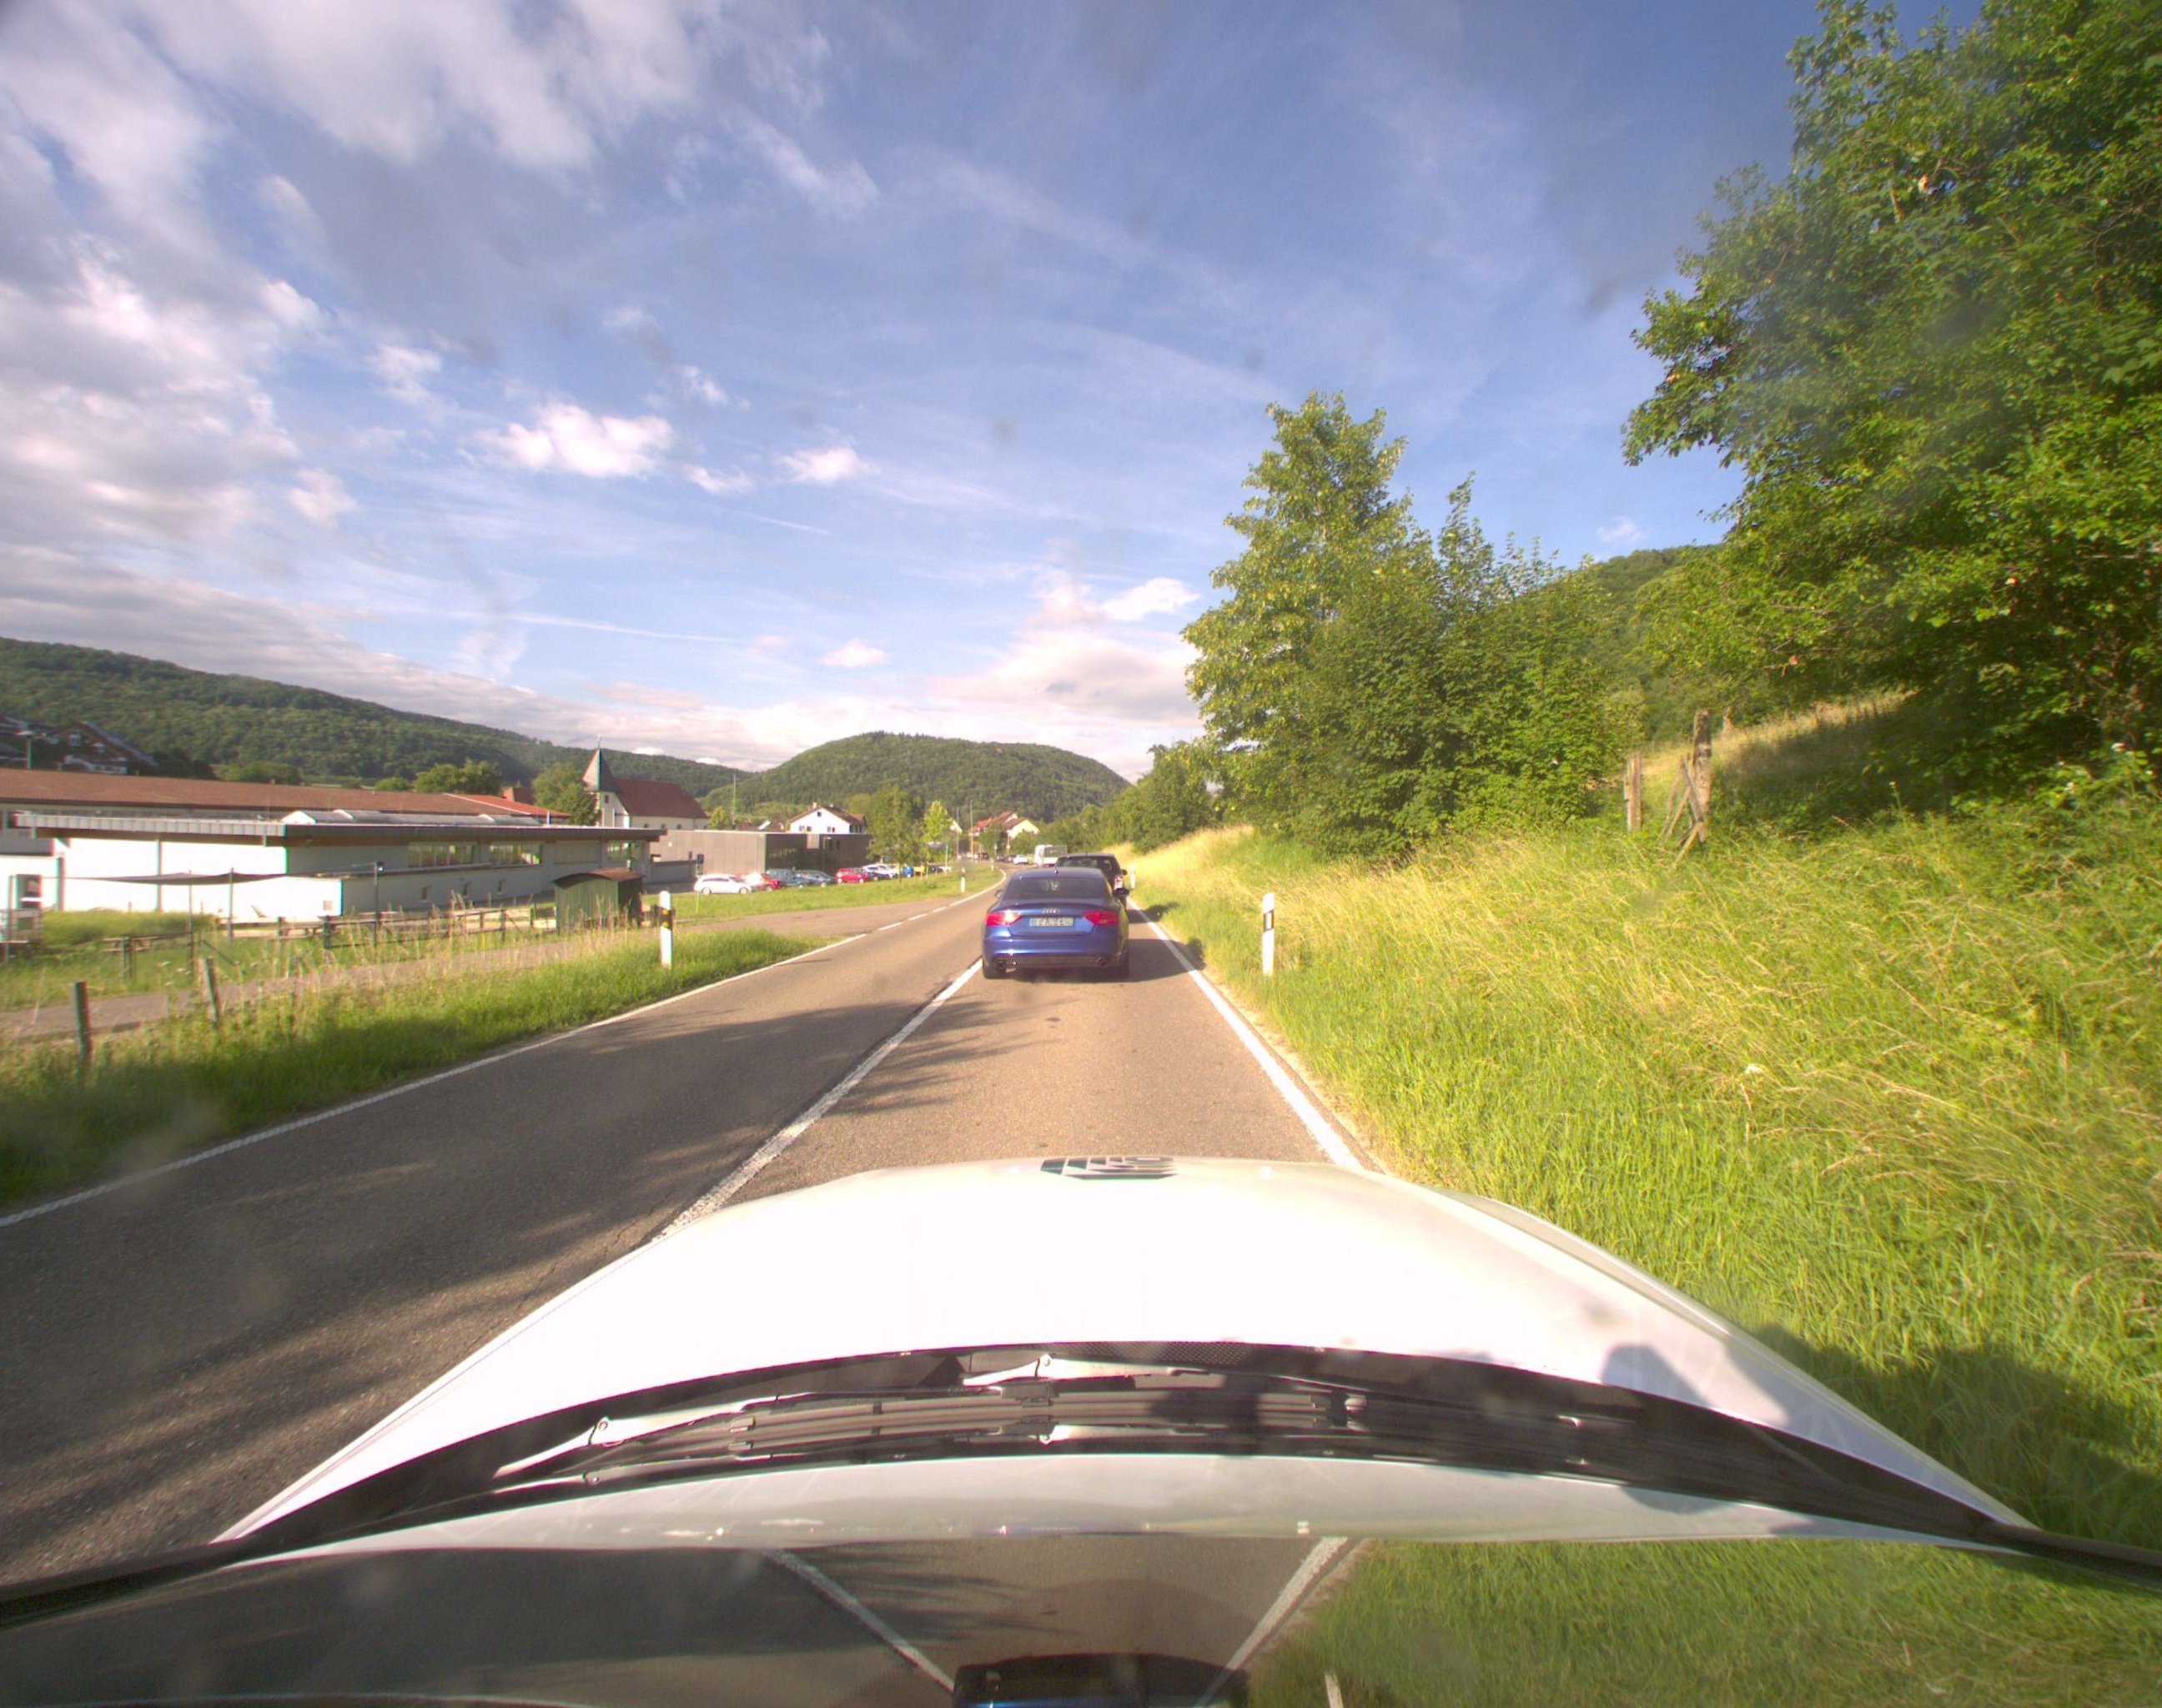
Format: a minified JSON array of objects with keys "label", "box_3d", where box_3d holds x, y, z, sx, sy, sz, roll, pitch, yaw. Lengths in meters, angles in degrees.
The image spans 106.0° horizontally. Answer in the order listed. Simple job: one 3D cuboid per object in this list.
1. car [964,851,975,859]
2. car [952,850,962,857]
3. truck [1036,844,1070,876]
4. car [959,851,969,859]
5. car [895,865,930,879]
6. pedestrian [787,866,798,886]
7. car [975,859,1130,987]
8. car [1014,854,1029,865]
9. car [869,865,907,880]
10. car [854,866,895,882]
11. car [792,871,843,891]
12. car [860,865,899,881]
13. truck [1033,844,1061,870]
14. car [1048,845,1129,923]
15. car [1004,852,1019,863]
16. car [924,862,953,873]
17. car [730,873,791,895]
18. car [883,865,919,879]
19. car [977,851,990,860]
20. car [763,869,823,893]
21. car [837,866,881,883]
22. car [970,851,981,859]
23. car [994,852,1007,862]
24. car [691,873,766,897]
[{"label":"car","box_3d":[-24.996,0.227,182.504,1.849,1.712,3.978,0,-1,-16]},{"label":"car","box_3d":[-30.018,-0.158,197.374,1.849,1.712,3.978,0,-1,-16]},{"label":"truck","box_3d":[-2.417,0.545,68.933,2.229,2.570,6.085,0,-1,-9]},{"label":"car","box_3d":[-27.379,0.242,190.303,1.850,1.712,3.977,0,-1,-17]},{"label":"car","box_3d":[-21.641,2.287,104.692,3.975,1.711,1.999,0,-1,-1]},{"label":"pedestrian","box_3d":[-29.362,2.199,82.911,0.822,2.014,0.973,0,-1,1]},{"label":"car","box_3d":[-0.230,0.797,11.126,1.747,1.430,3.849,0,-1,3]},{"label":"car","box_3d":[-8.562,0.768,117.665,1.845,1.482,3.987,0,-1,-9]},{"label":"car","box_3d":[-22.801,2.216,96.253,3.975,1.711,1.999,0,-1,-1]},{"label":"car","box_3d":[-22.649,2.149,89.304,3.975,1.711,1.999,0,-1,-1]},{"label":"car","box_3d":[-24.089,2.439,74.481,3.975,1.711,1.999,0,-1,-1]},{"label":"car","box_3d":[-23.008,2.187,92.971,3.975,1.711,1.999,0,-1,-1]},{"label":"truck","box_3d":[-3.571,0.298,84.513,2.229,2.570,6.687,0,-1,-9]},{"label":"car","box_3d":[0.249,0.668,19.633,1.747,1.681,3.849,0,-1,3]},{"label":"car","box_3d":[-11.166,0.616,130.446,1.847,1.712,3.982,0,-1,-13]},{"label":"car","box_3d":[-20.811,1.974,119.250,3.975,1.579,1.752,0,-1,-1]},{"label":"car","box_3d":[-25.203,2.350,64.187,3.975,1.711,1.999,0,-1,-1]},{"label":"car","box_3d":[-22.556,2.269,102.038,3.975,1.711,1.999,0,-1,-1]},{"label":"car","box_3d":[-19.694,0.306,164.431,1.849,1.712,3.978,0,-1,-16]},{"label":"car","box_3d":[-24.703,2.333,69.990,4.393,2.008,1.999,0,-1,-1]},{"label":"car","box_3d":[-23.092,2.110,84.763,3.975,1.711,1.999,0,-1,-1]},{"label":"car","box_3d":[-22.594,0.202,174.195,1.849,1.712,3.978,0,-1,-16]},{"label":"car","box_3d":[-14.267,0.588,144.868,1.847,1.712,3.982,0,-1,-13]},{"label":"car","box_3d":[-26.426,2.332,61.206,4.717,1.711,1.999,0,-1,-1]}]
